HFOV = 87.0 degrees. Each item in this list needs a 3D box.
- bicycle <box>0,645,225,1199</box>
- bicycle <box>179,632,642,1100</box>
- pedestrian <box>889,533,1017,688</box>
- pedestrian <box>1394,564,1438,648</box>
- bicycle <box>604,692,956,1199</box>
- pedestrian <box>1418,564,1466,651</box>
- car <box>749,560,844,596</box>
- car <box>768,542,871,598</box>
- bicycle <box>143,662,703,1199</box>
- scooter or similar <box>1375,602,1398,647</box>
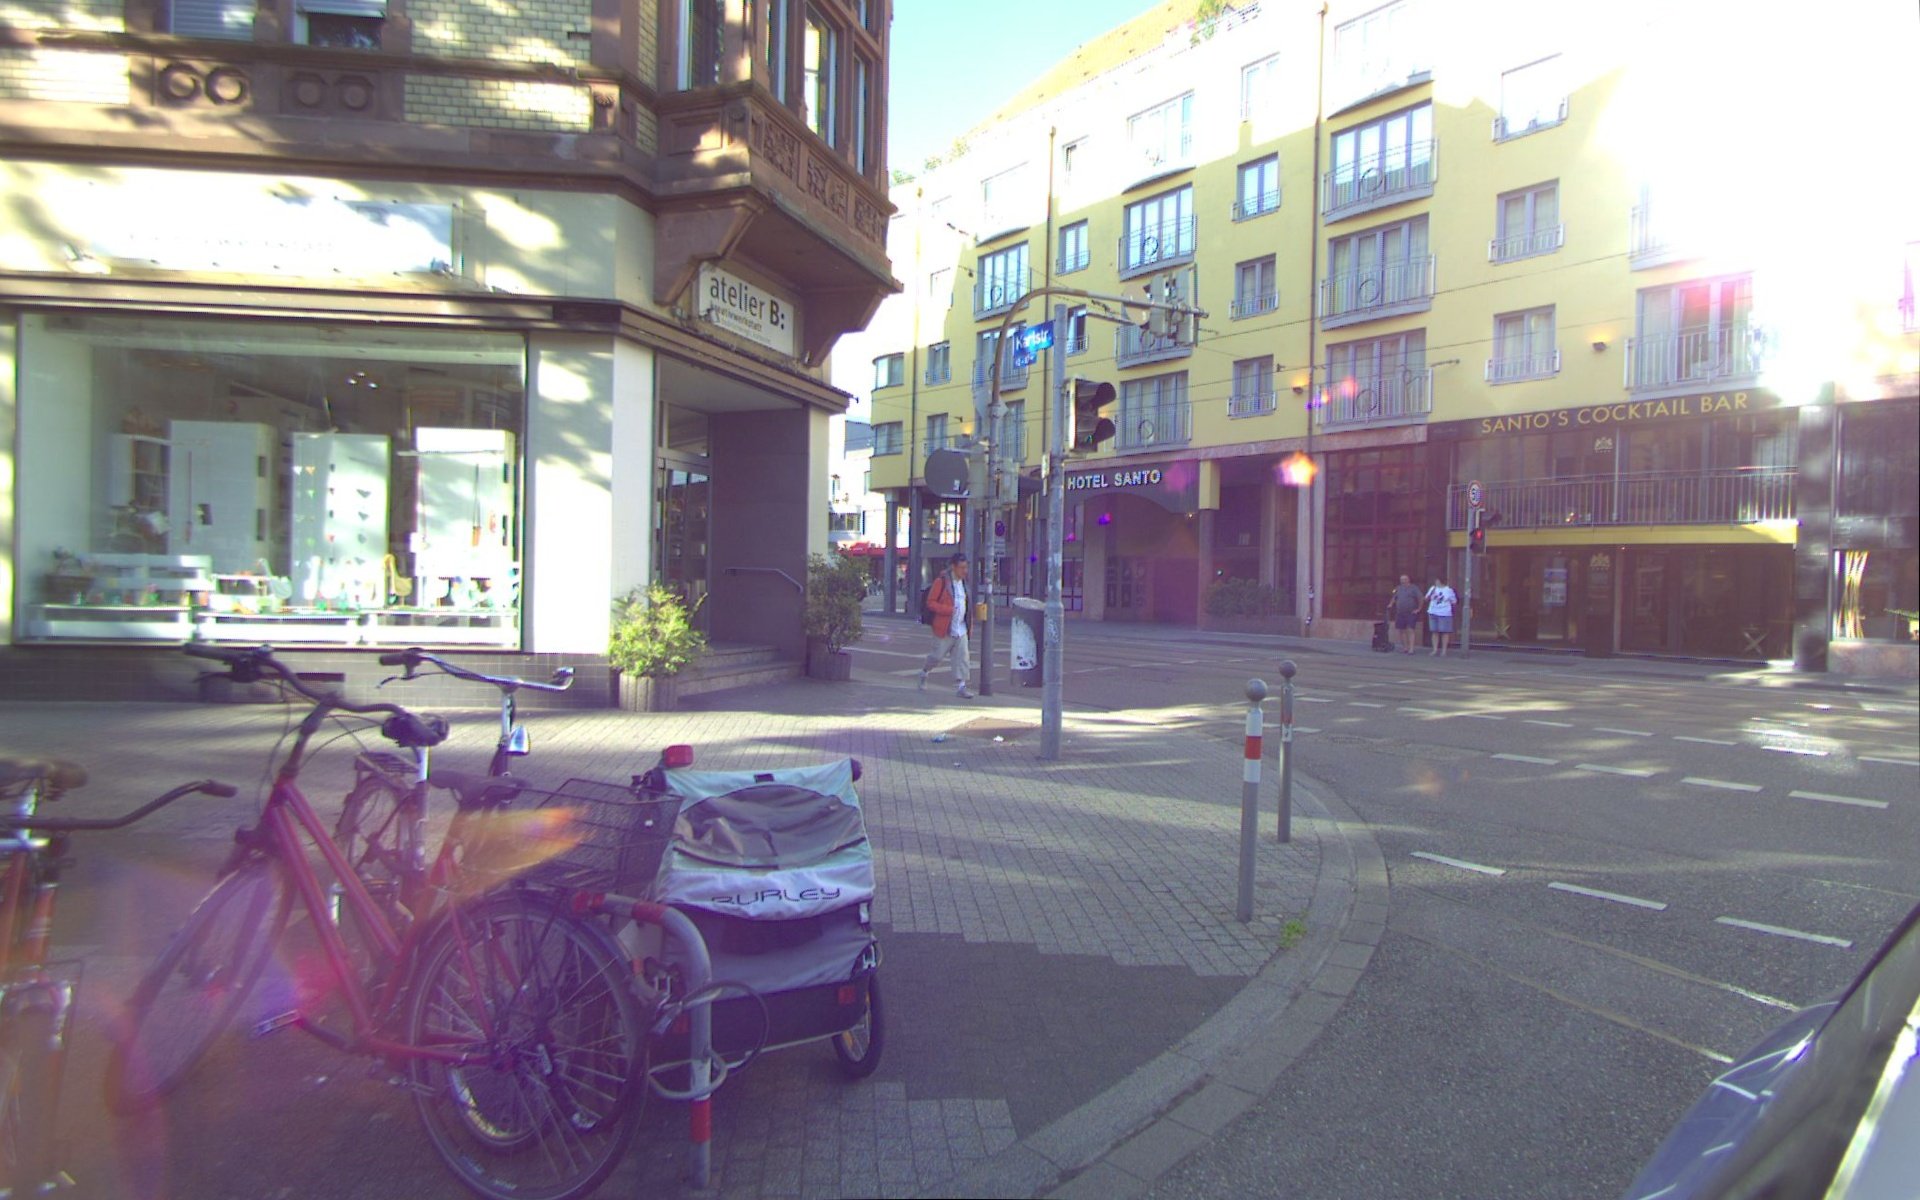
[{"bbox_3d":[-2.104,0.761,2.314,0.418,1.106,1.932,-2,5,-44],"label":"bicycle"},{"bbox_3d":[-1.771,0.725,3.243,1.463,1.106,0.569,3,4,27],"label":"bicycle"},{"bbox_3d":[-0.069,0.099,11.814,1.161,1.701,0.999,2,1,25],"label":"pedestrian"},{"bbox_3d":[10.441,0.125,23.177,0.714,1.862,0.678,-4,4,-40],"label":"pedestrian"},{"bbox_3d":[-0.569,0.852,2.916,0.723,1.039,1.001,1,1,-27],"label":"bicycle"},{"bbox_3d":[10.650,0.150,22.381,0.714,1.862,0.734,-4,4,-40],"label":"pedestrian"},{"bbox_3d":[-8.924,-1.176,55.517,4.732,1.860,2.058,0,1,-39],"label":"car"},{"bbox_3d":[-7.400,-1.552,53.510,5.055,2.792,2.058,0,1,-39],"label":"car"},{"bbox_3d":[-1.353,0.781,2.499,1.462,1.106,0.421,3,4,25],"label":"bicycle"},{"bbox_3d":[9.875,0.555,23.417,0.416,0.989,0.356,-4,4,-42],"label":"scooter or similar"}]
